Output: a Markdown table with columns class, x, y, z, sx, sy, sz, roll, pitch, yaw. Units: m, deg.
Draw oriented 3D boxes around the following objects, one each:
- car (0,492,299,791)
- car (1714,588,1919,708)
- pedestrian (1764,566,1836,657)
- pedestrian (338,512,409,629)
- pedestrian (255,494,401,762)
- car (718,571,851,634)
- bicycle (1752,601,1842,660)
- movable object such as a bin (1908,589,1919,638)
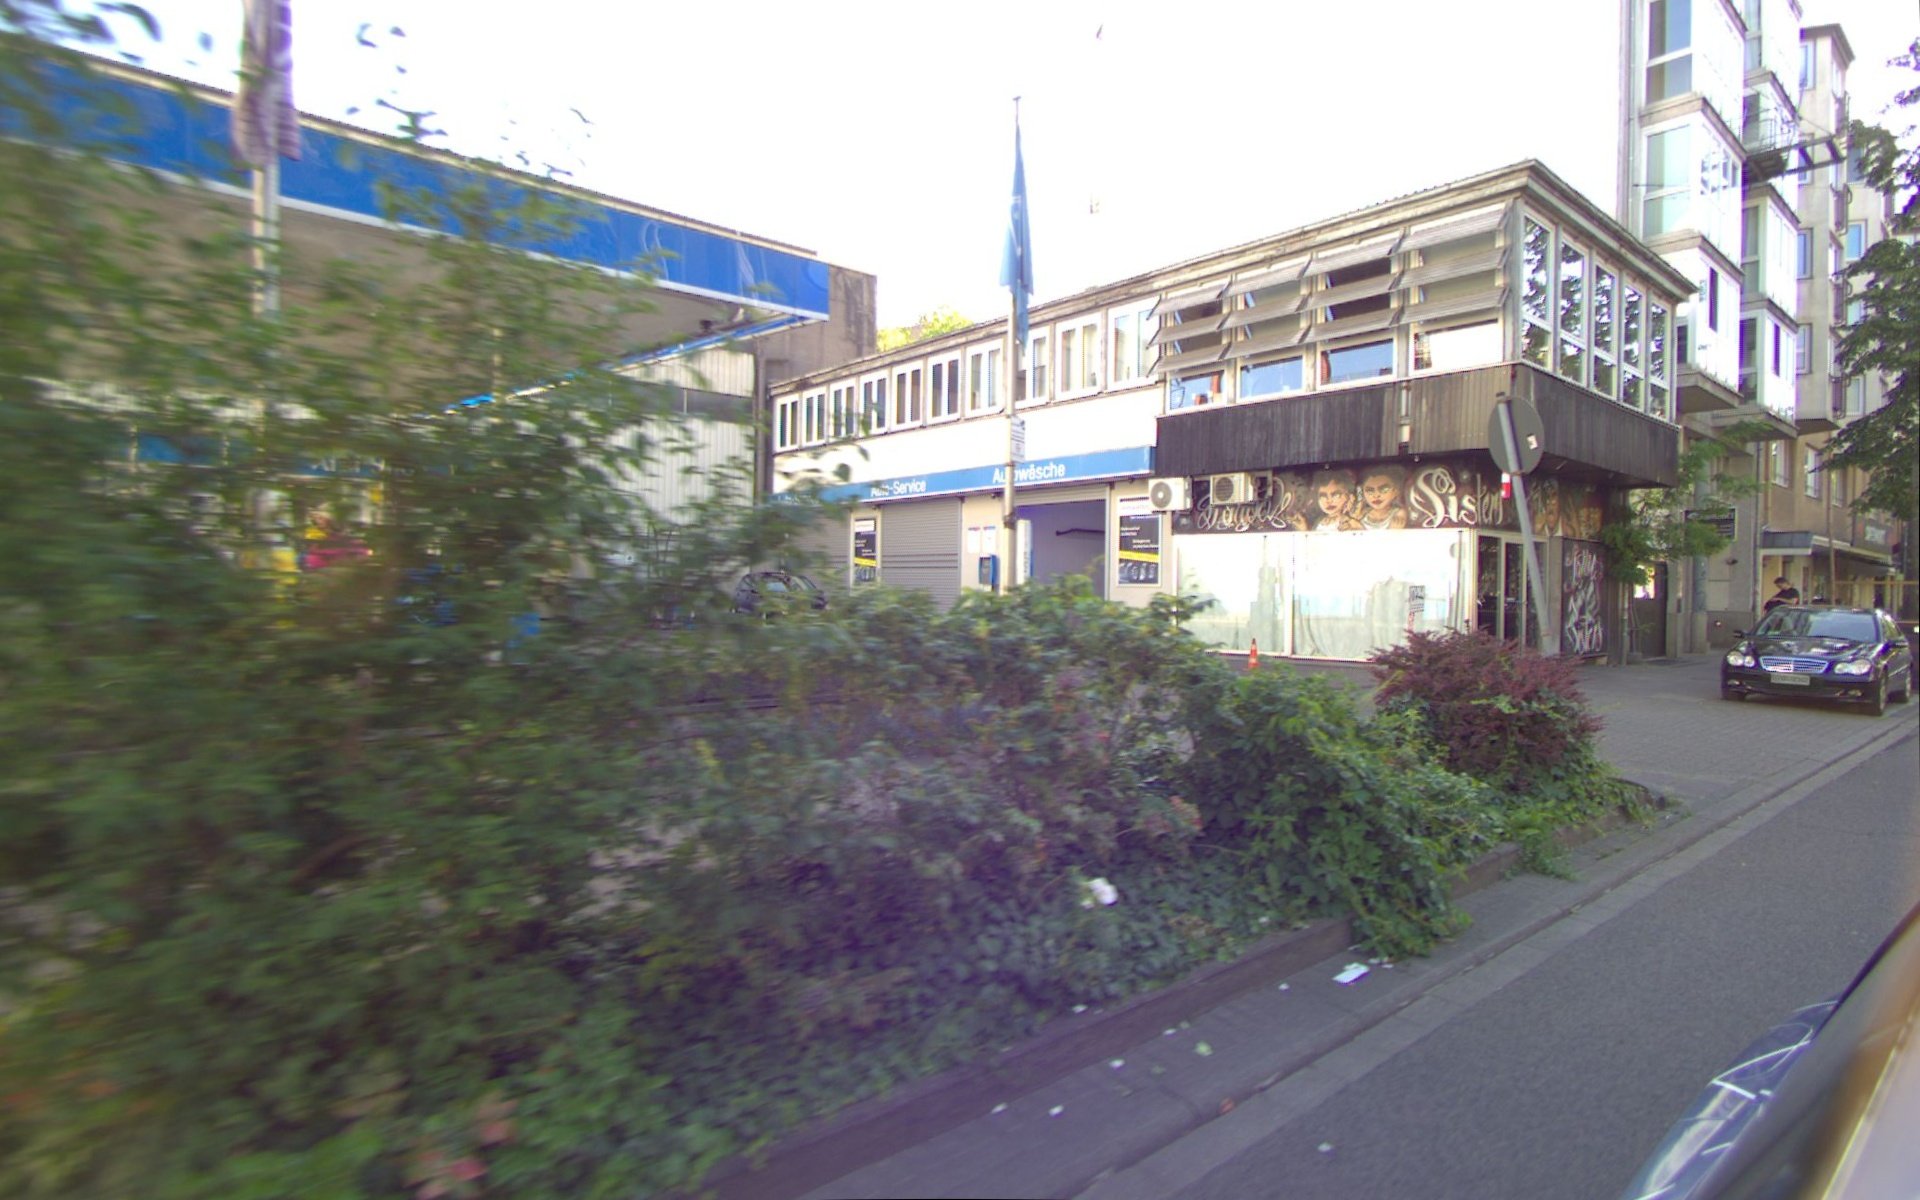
| class | x | y | z | sx | sy | sz | roll | pitch | yaw |
| --- | --- | --- | --- | --- | --- | --- | --- | --- | --- |
| car | -6.499 | 0.206 | 5.940 | 4.216 | 1.668 | 1.905 | 0 | 2 | -39 |
| car | 12.880 | 0.584 | 14.884 | 4.566 | 1.429 | 1.905 | 0 | 3 | -41 |
| pedestrian | 18.462 | 0.241 | 22.248 | 0.745 | 1.960 | 0.930 | 1 | 1 | -15 |
| pedestrian | -9.147 | -0.451 | 15.779 | 0.807 | 1.764 | 0.816 | 0 | 0 | -42 |
| pedestrian | -4.709 | 0.183 | 7.551 | 0.684 | 1.873 | 0.701 | 2 | 1 | 34 |
| car | -4.376 | 0.019 | 24.709 | 1.869 | 1.375 | 4.004 | 0 | 2 | -31 |
| bicycle | 17.934 | 0.629 | 21.723 | 0.670 | 1.163 | 1.681 | 1 | 1 | 7 |
| movable object such as a bin | 28.873 | 0.411 | 29.924 | 1.272 | 1.449 | 1.079 | 0 | 1 | -40 |
